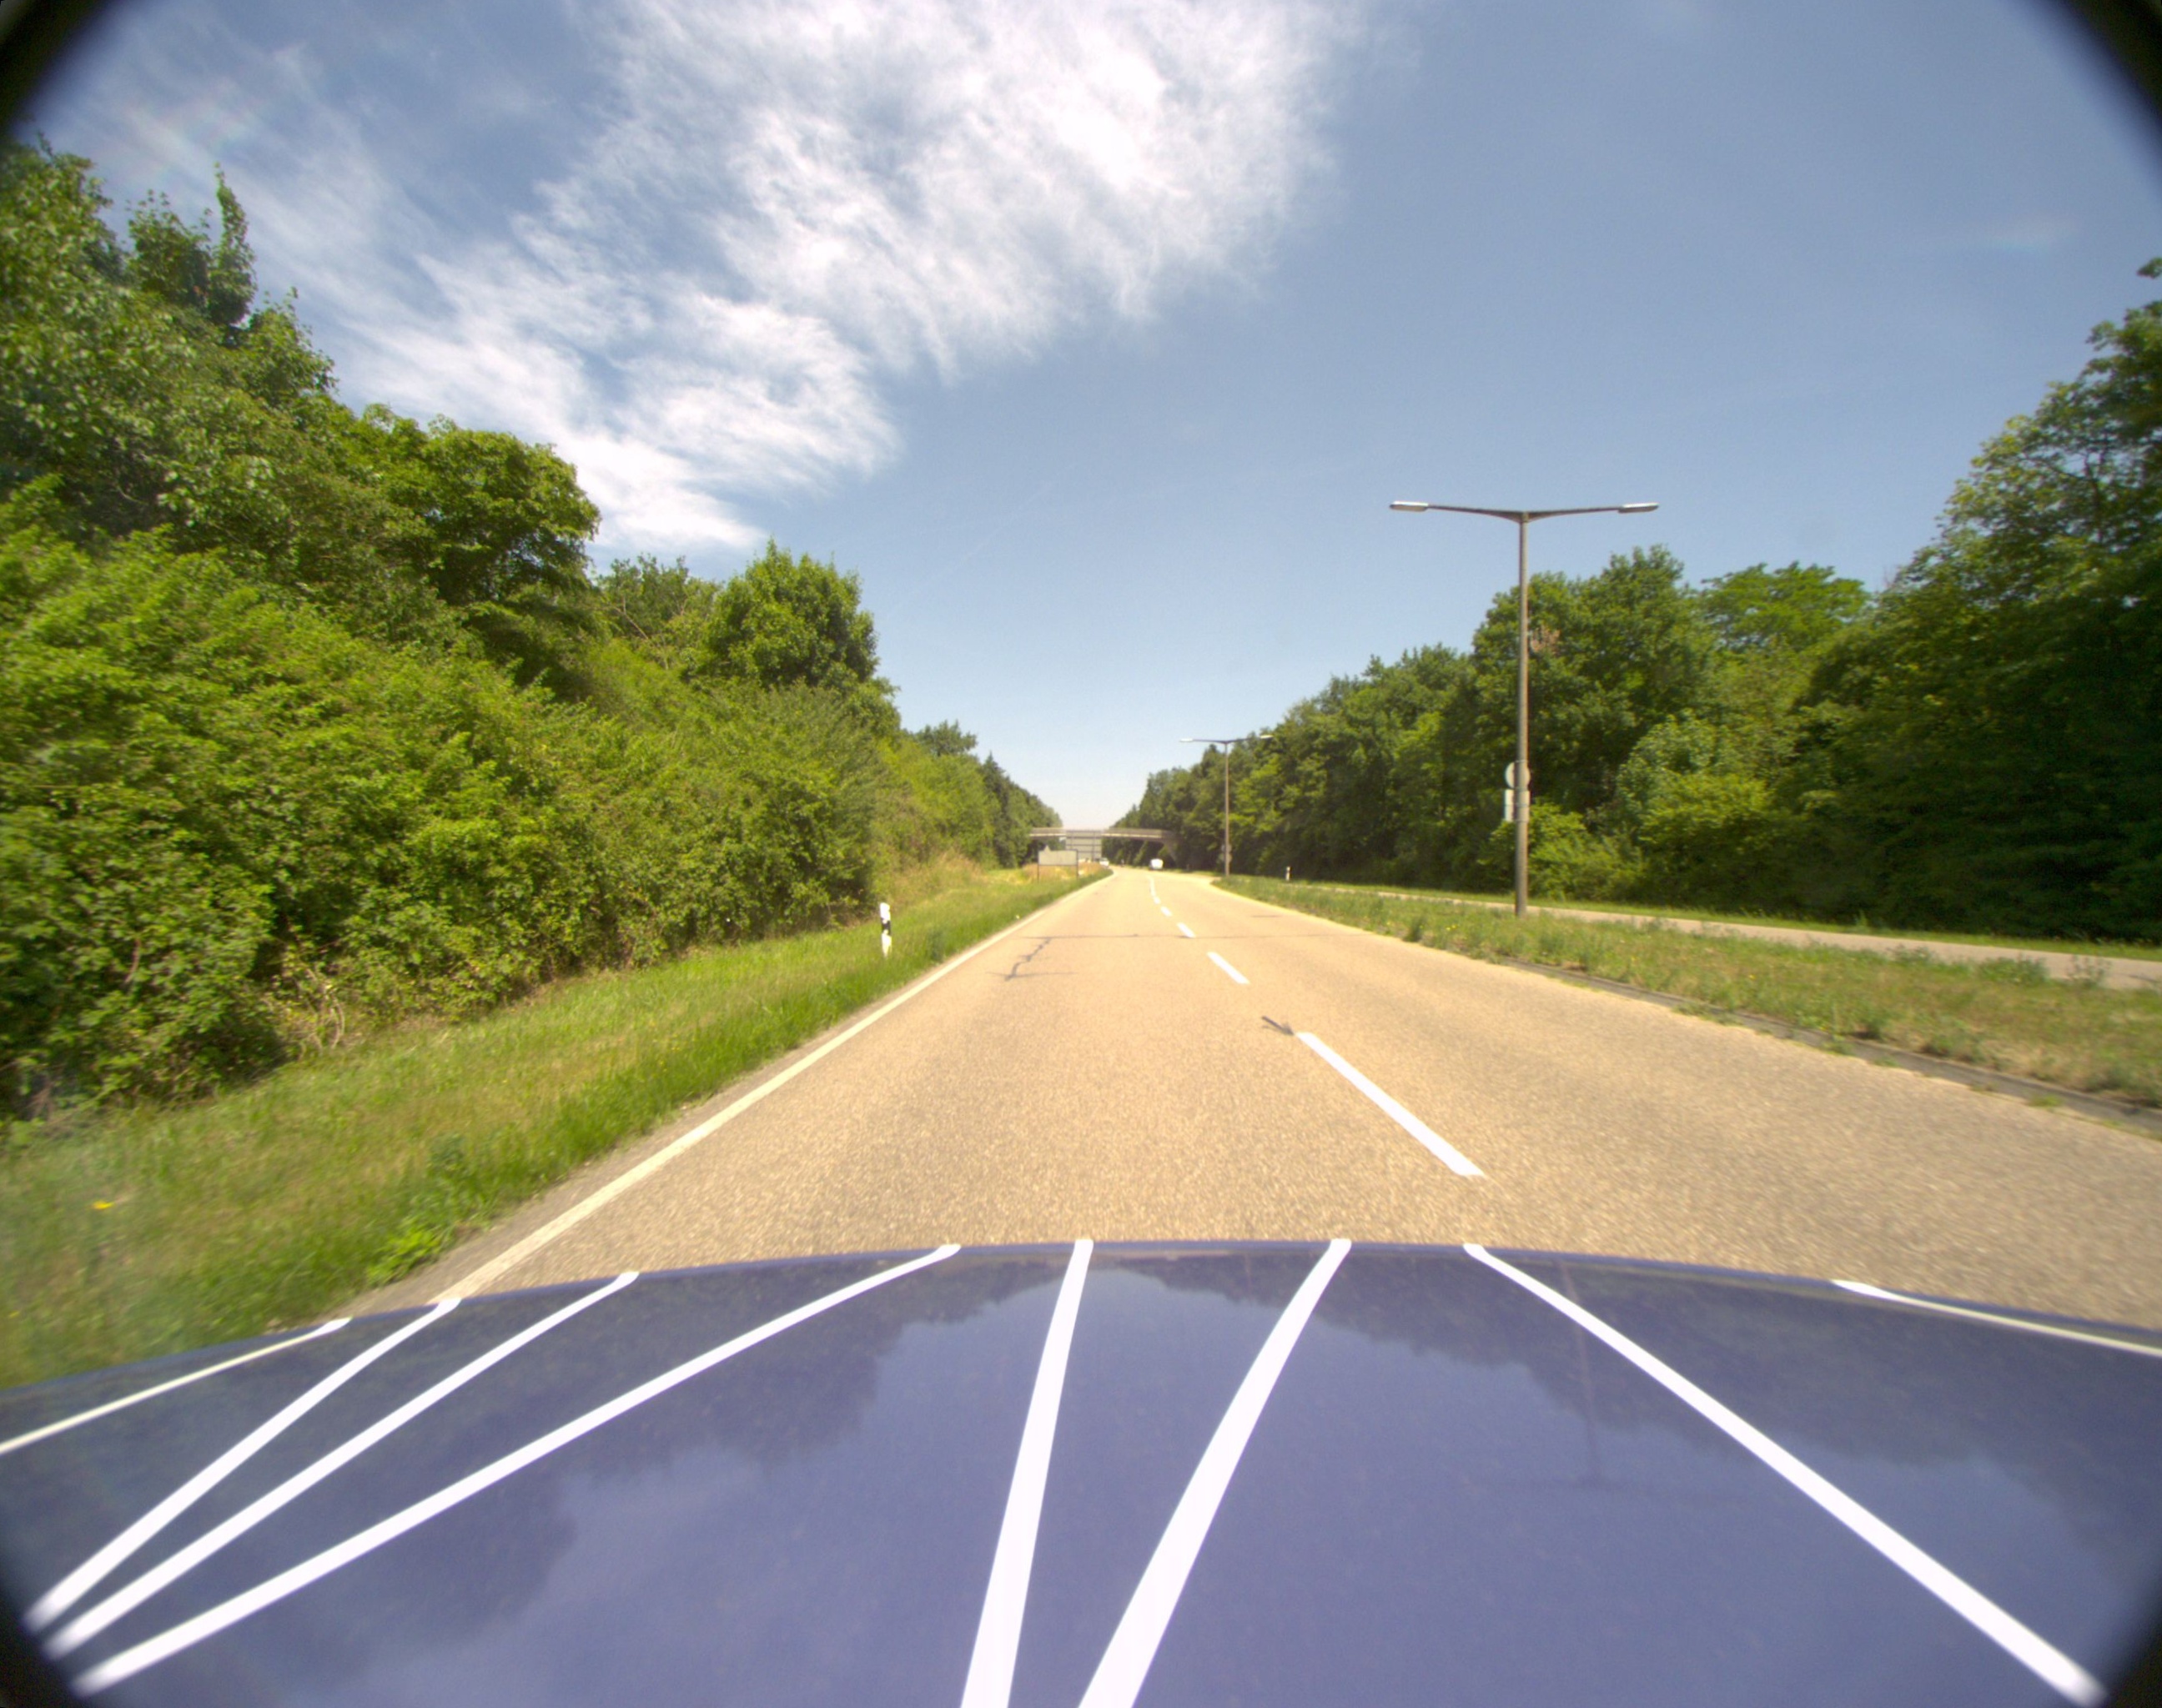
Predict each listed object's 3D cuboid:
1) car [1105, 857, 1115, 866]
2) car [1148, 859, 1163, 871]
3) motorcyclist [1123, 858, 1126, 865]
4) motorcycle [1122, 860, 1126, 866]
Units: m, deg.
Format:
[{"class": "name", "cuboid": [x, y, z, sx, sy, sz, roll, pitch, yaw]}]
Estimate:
[{"class": "car", "cuboid": [6.215, 1.616, 164.459, 1.865, 1.747, 3.999, 1, 0, -2]}, {"class": "car", "cuboid": [11.395, 1.612, 115.914, 1.736, 1.678, 4.094, 2, 0, -2]}, {"class": "motorcyclist", "cuboid": [9.723, 1.738, 170.227, 0.672, 1.467, 0.813, 1, 1, -4]}, {"class": "motorcycle", "cuboid": [9.707, 2.016, 170.216, 0.672, 1.167, 2.231, 1, 0, -3]}]
